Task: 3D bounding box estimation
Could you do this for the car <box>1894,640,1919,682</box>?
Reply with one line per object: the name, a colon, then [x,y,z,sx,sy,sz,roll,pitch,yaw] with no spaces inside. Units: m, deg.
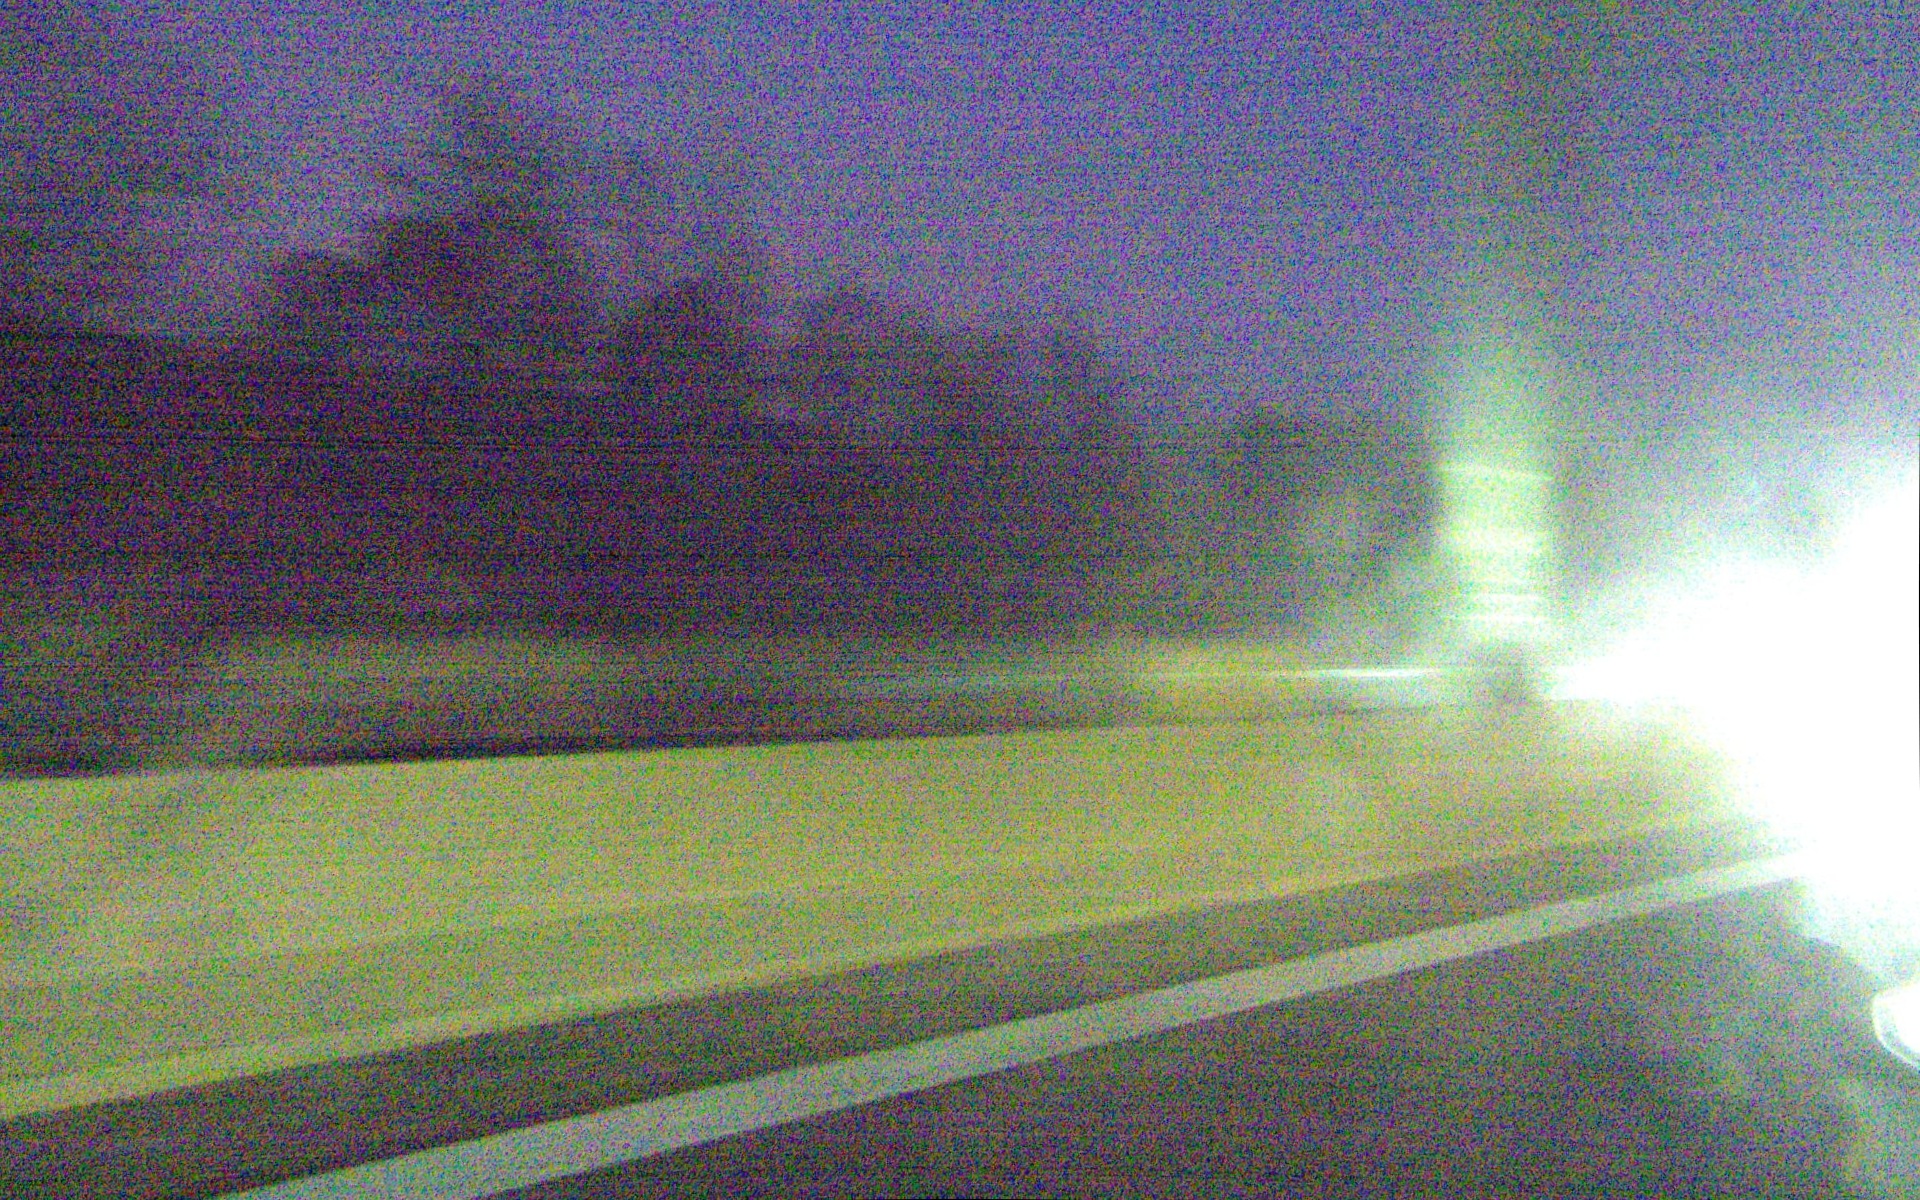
car: [43.681,2.725,44.641,4.904,1.797,1.983,2,-2,-32]
